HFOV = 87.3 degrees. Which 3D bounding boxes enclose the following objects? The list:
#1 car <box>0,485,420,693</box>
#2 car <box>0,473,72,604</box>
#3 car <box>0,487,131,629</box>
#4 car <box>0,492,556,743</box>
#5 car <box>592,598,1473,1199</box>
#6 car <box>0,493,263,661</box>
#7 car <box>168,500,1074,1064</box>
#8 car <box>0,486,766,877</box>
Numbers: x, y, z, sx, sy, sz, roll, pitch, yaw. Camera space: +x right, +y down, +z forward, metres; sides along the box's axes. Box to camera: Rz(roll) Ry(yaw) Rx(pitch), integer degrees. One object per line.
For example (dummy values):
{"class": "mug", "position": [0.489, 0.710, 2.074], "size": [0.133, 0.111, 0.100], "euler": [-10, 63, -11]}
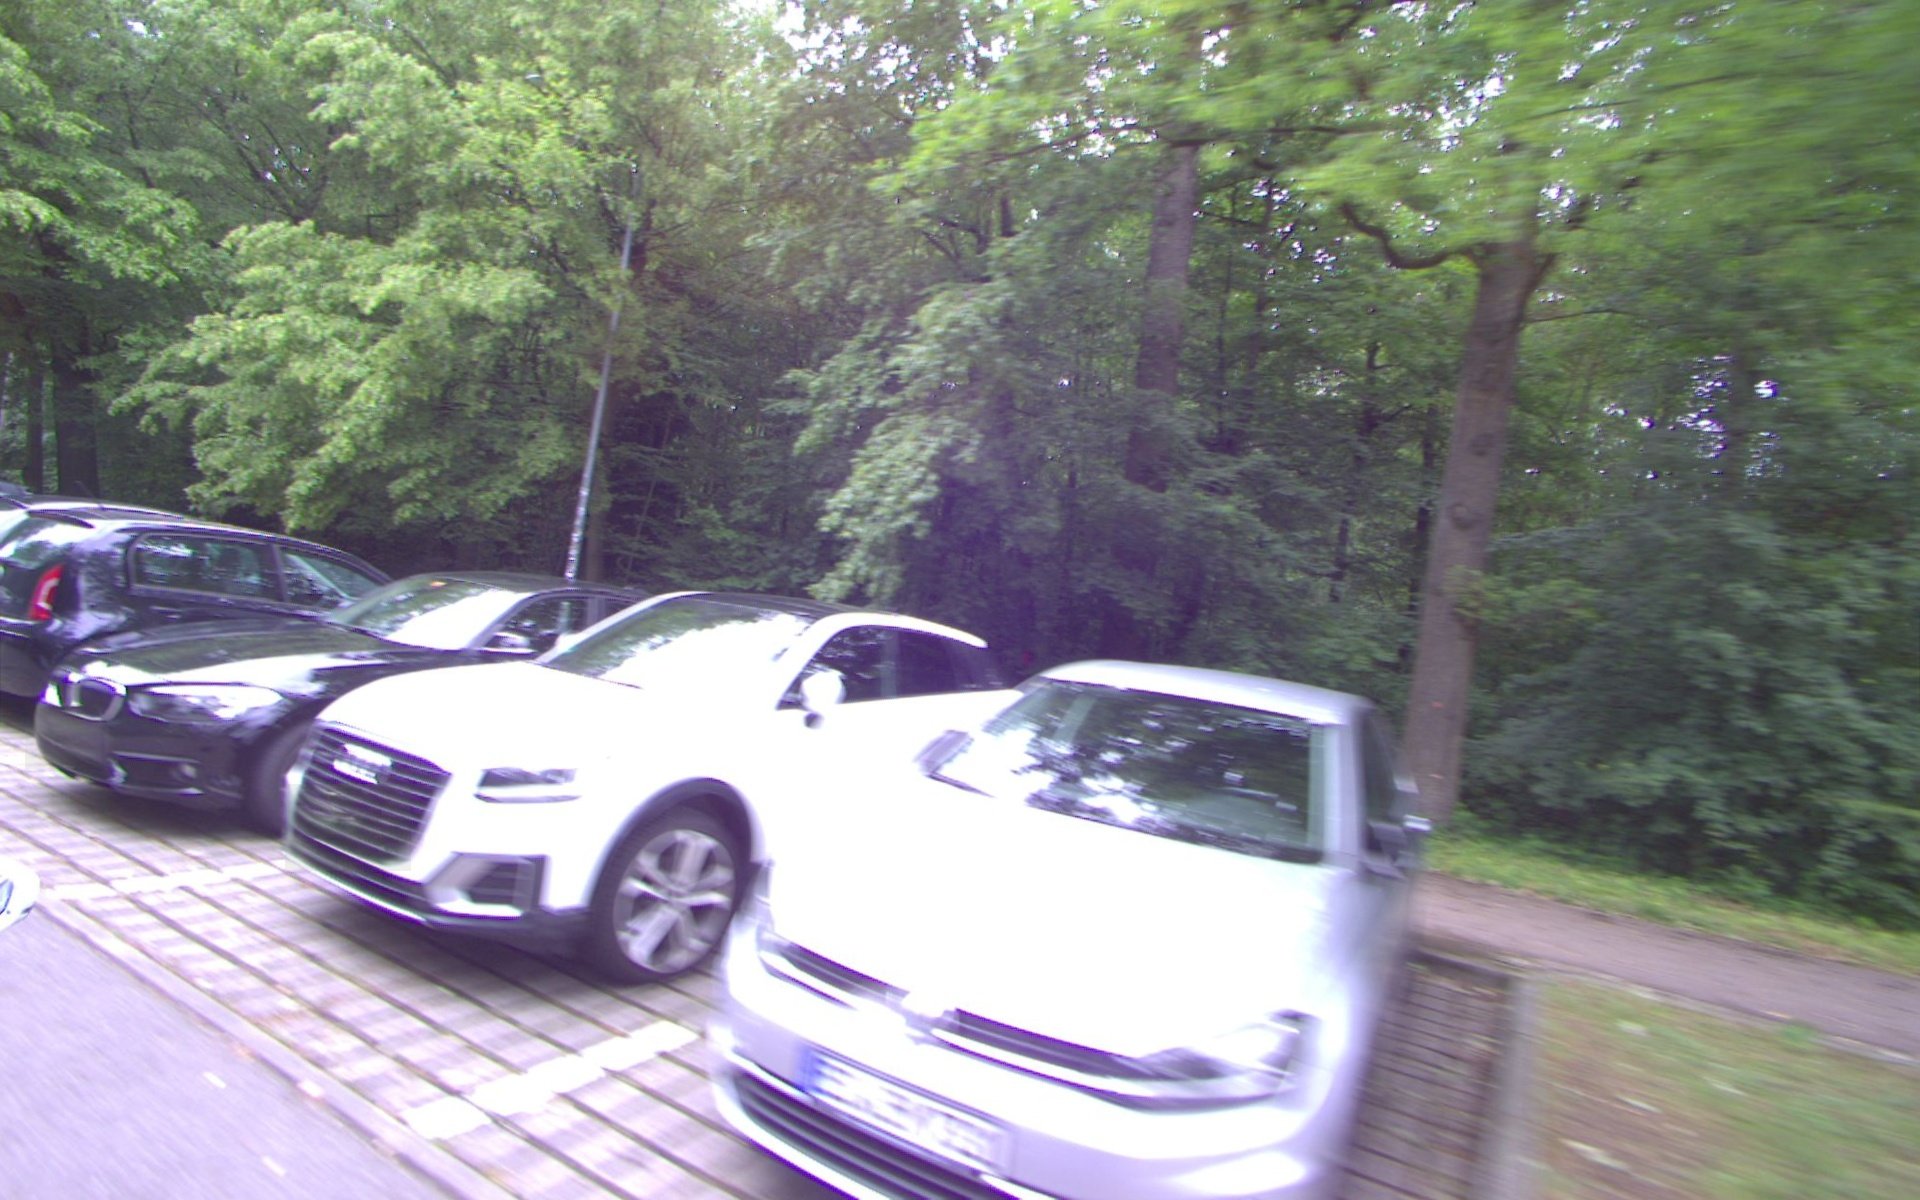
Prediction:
{"class": "car", "position": [-7.365, -0.073, 9.151], "size": [1.819, 1.550, 3.836], "euler": [7, -1, 28]}
{"class": "car", "position": [-14.308, -1.093, 12.582], "size": [1.924, 1.685, 4.278], "euler": [8, -2, 27]}
{"class": "car", "position": [-12.196, -0.692, 11.220], "size": [1.939, 1.569, 4.002], "euler": [8, -2, 22]}
{"class": "car", "position": [-5.489, 0.178, 8.023], "size": [1.778, 1.474, 3.835], "euler": [7, -1, 29]}
{"class": "car", "position": [0.867, 1.041, 3.938], "size": [1.851, 1.501, 3.988], "euler": [8, -1, 28]}
{"class": "car", "position": [-9.827, -0.345, 10.197], "size": [1.919, 1.492, 3.998], "euler": [8, -2, 28]}
{"class": "car", "position": [-1.233, 0.701, 5.245], "size": [1.945, 1.577, 4.016], "euler": [8, -1, 32]}
{"class": "car", "position": [-3.391, 0.465, 6.467], "size": [1.860, 1.529, 4.199], "euler": [8, -1, 27]}
